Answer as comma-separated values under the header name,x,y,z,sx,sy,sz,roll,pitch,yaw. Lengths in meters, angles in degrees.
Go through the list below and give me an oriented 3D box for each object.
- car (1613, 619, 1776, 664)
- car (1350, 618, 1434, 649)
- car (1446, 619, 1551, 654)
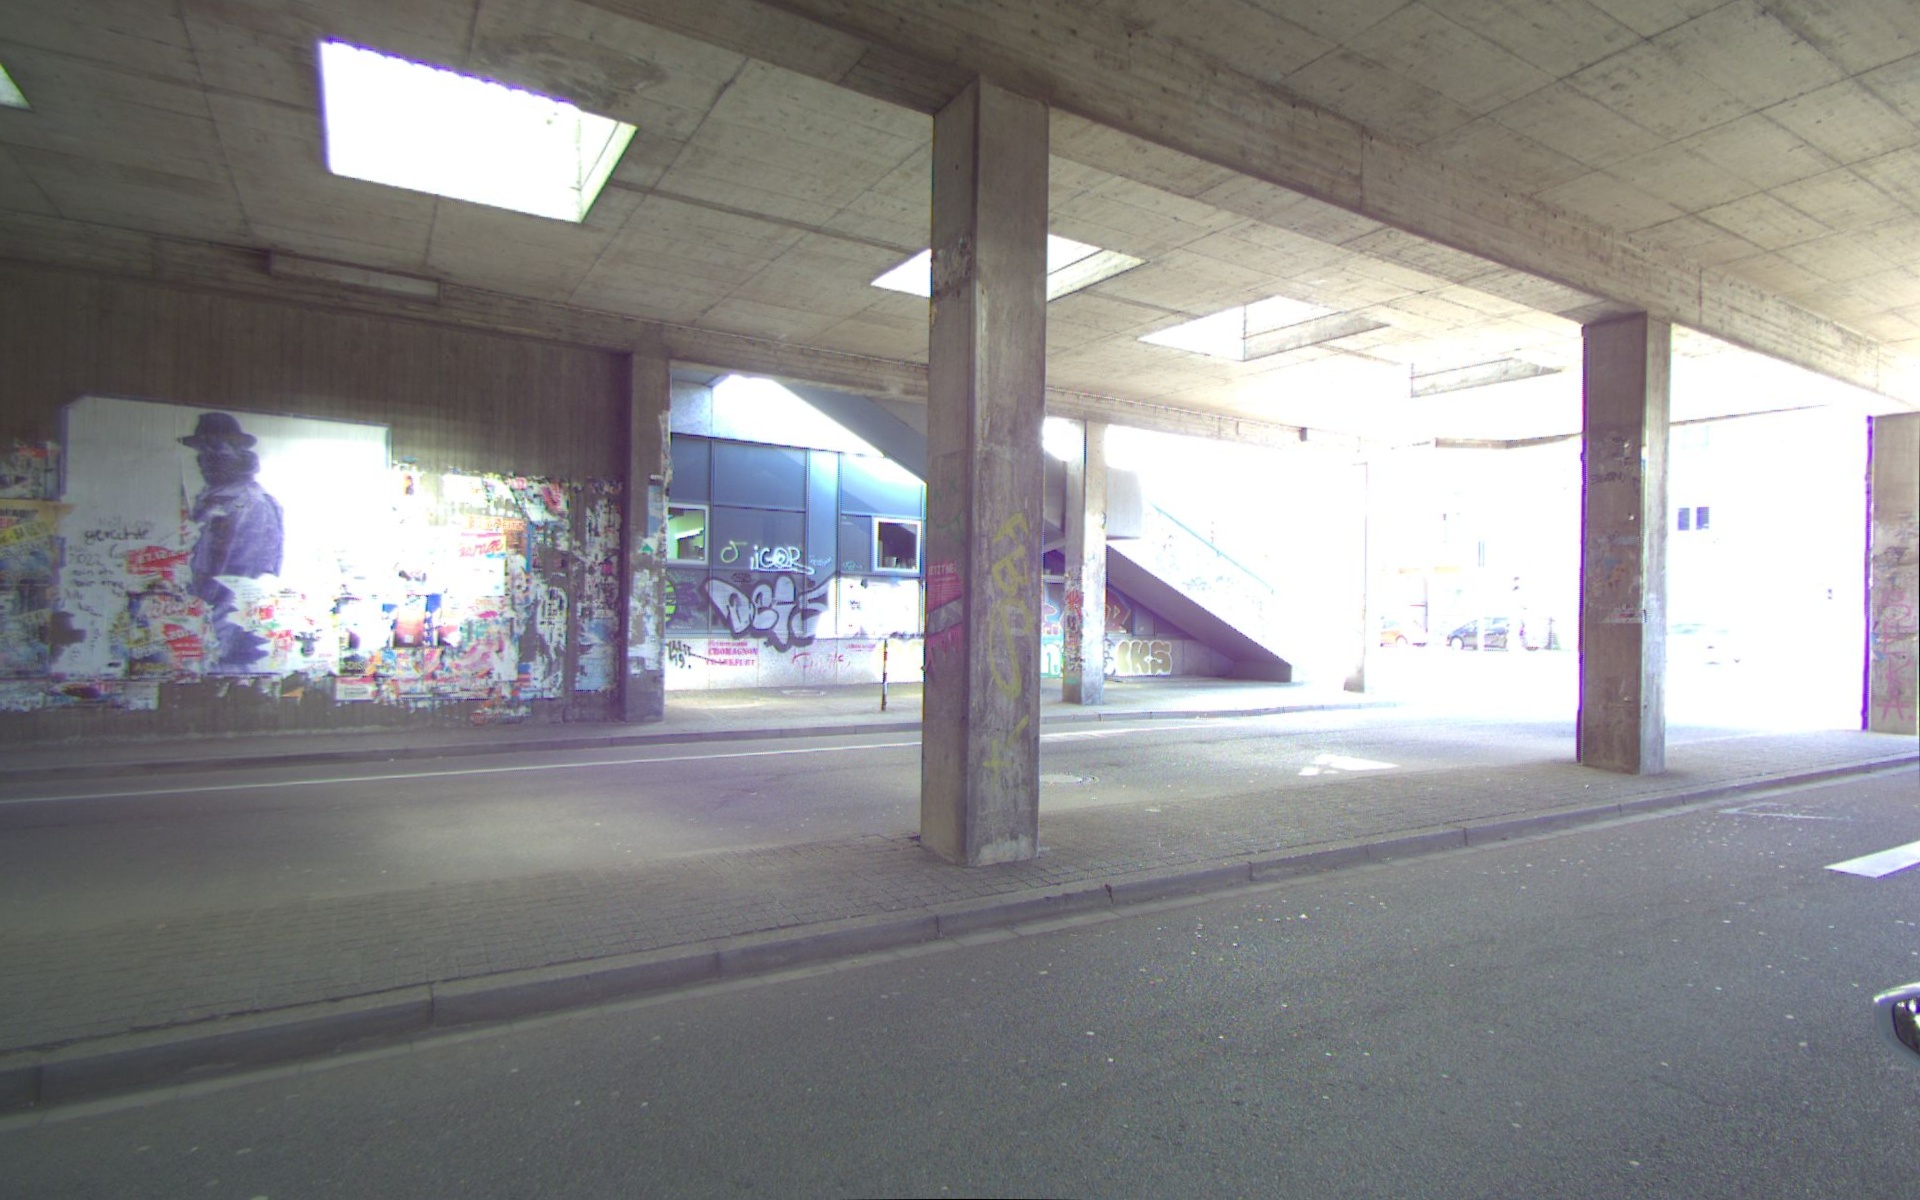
name,x,y,z,sx,sy,sz,roll,pitch,yaw
car,25.694,1.433,35.306,1.859,1.417,4.263,2,-1,-27
car,22.579,1.727,52.623,1.730,1.495,3.741,2,-1,-31
car,25.492,1.709,47.667,1.718,1.495,4.089,2,-1,-31
